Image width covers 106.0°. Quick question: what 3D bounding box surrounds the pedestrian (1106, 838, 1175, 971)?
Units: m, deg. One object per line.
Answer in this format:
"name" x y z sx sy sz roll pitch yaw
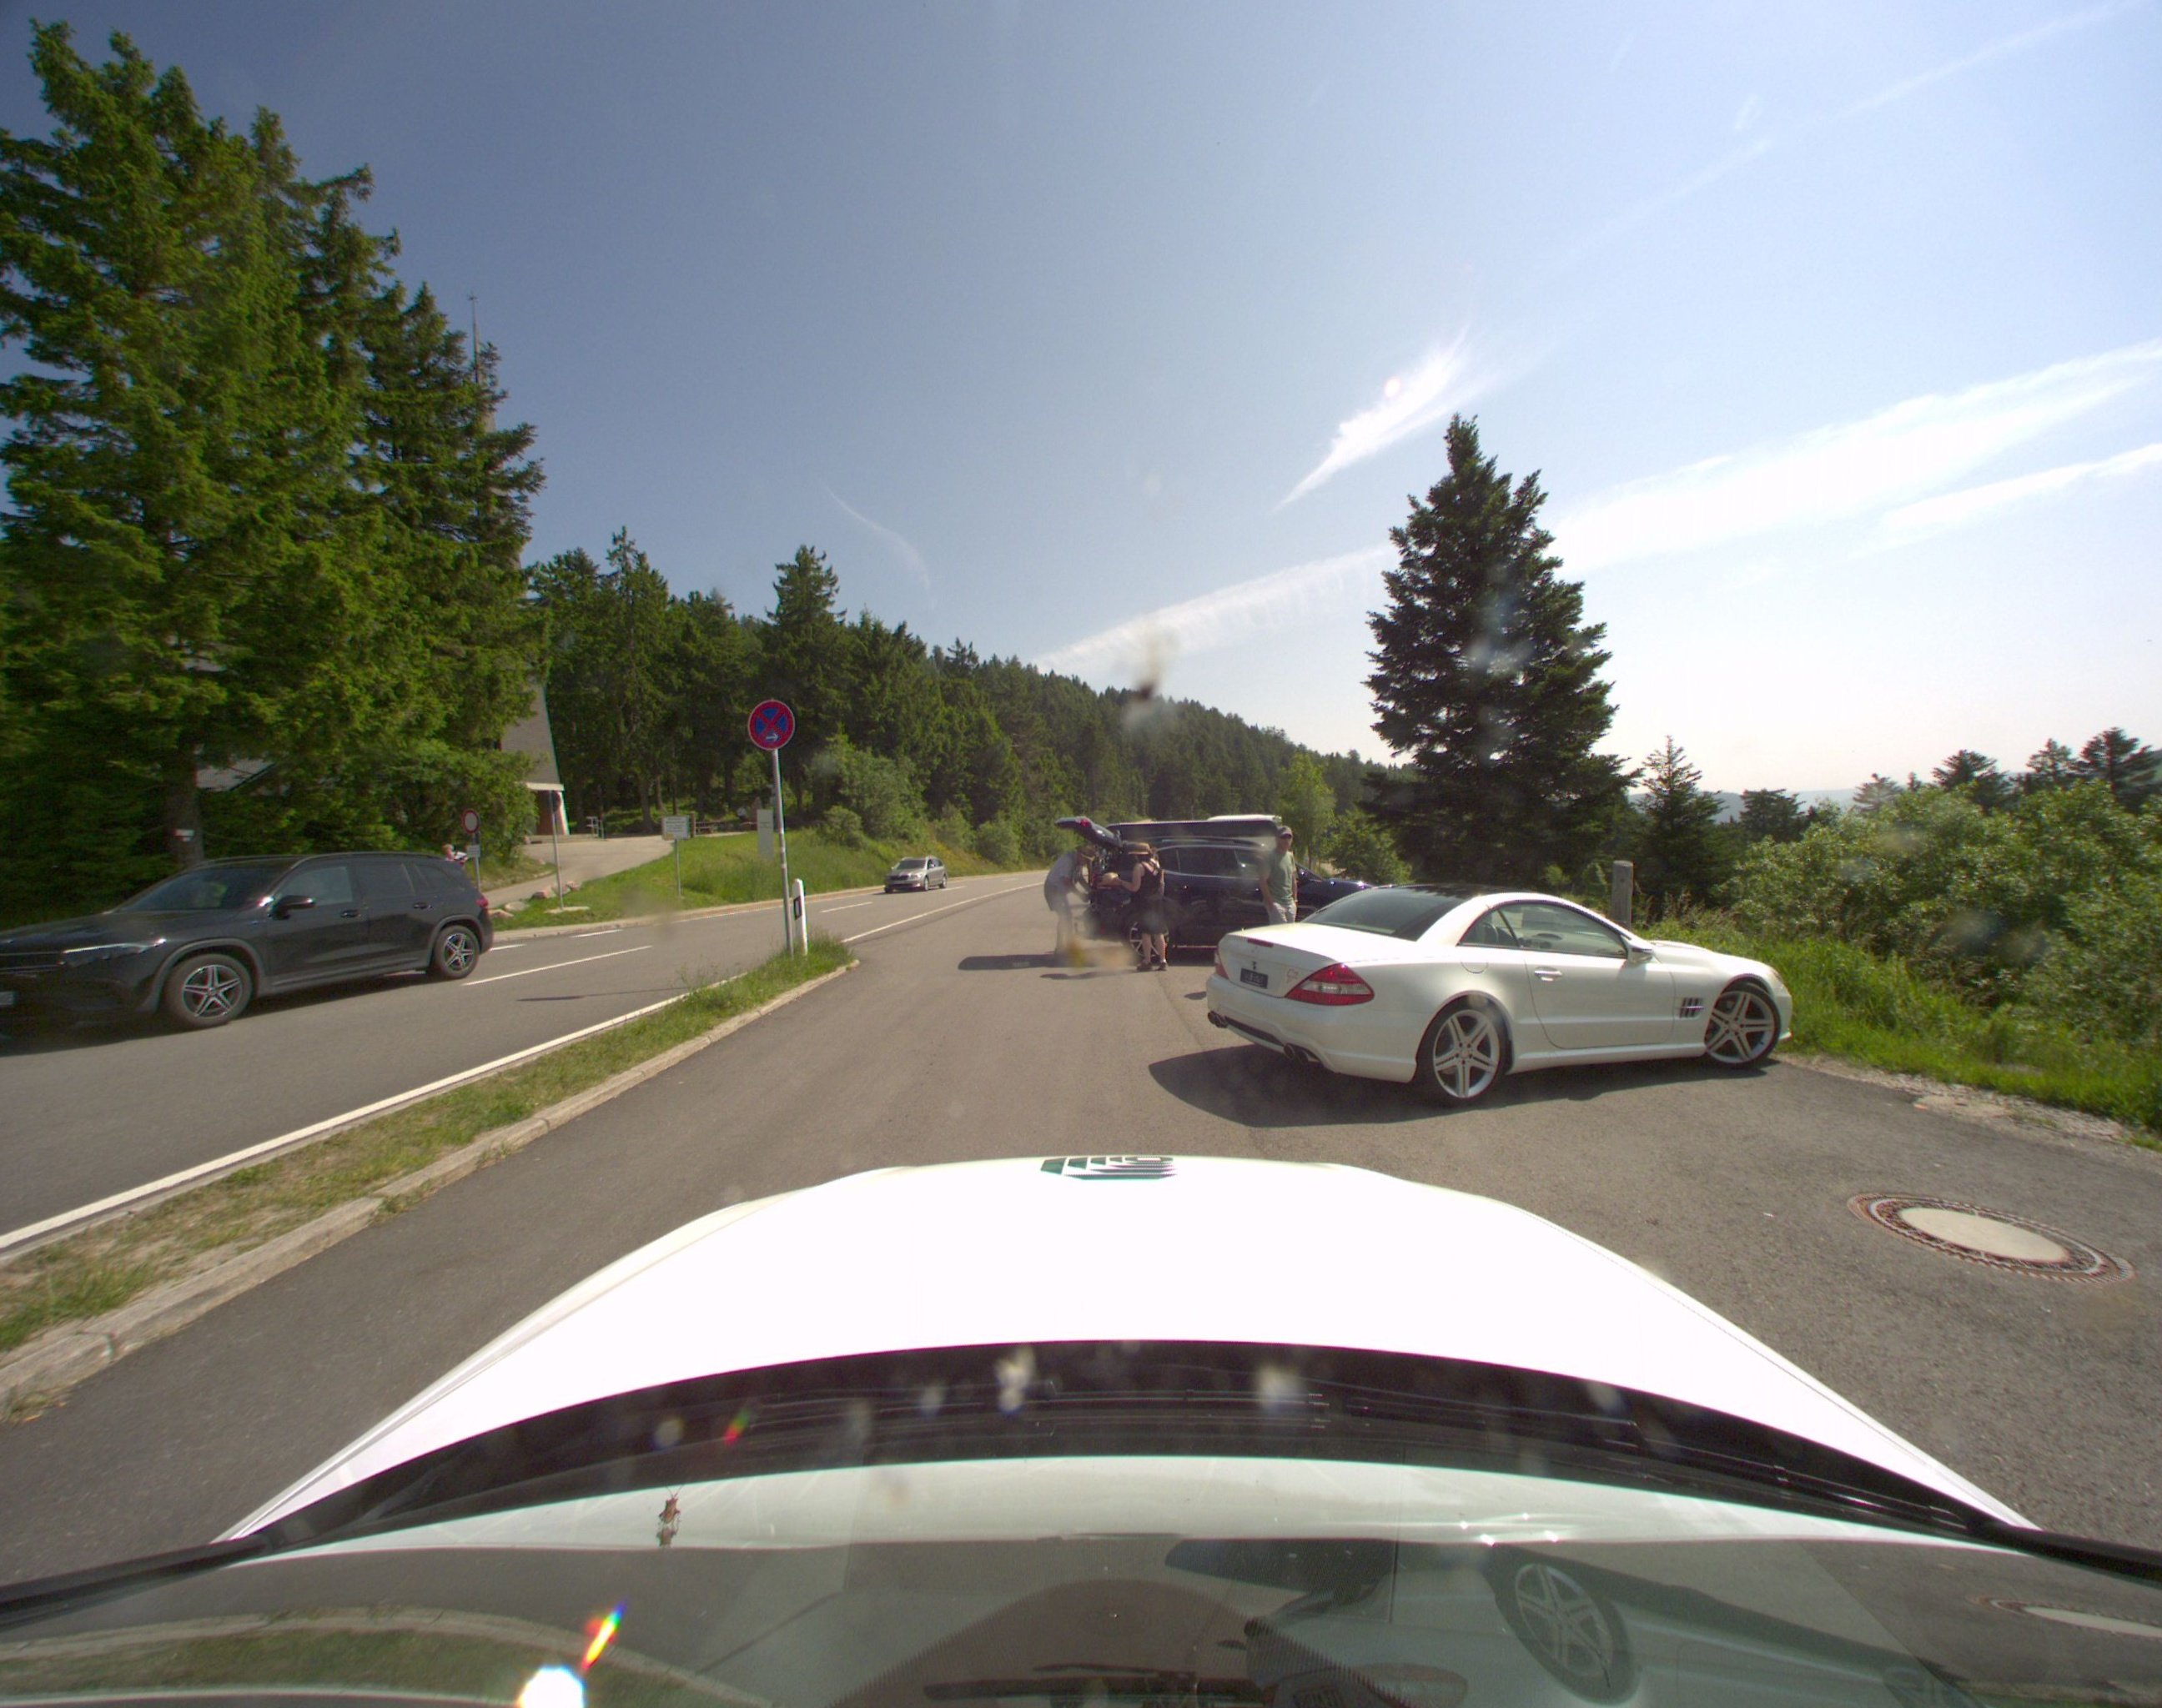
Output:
"pedestrian" 0.738 0.611 10.242 0.715 1.613 0.533 0 -1 -17

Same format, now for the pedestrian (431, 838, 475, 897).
"pedestrian" -18.345 0.386 23.806 0.719 1.681 0.680 -3 0 -10

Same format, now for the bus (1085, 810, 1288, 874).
"bus" 7.003 -0.759 54.233 13.000 3.532 3.055 -3 0 14

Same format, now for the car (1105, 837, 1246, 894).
"car" 2.961 0.356 25.947 4.225 1.553 1.840 -3 0 3

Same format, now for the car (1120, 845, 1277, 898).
"car" 3.284 0.466 23.236 4.225 1.269 1.840 -3 0 3

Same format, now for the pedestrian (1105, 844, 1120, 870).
"pedestrian" 2.035 0.188 52.902 0.765 1.585 0.775 -3 0 10

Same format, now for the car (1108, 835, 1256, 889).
"car" 3.528 0.269 29.038 5.012 1.651 2.050 -3 0 3

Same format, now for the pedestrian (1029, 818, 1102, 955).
"pedestrian" -0.216 0.430 11.666 0.728 1.870 0.763 1 3 34

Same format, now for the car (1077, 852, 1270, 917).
"car" 1.974 0.647 18.134 4.071 1.376 1.701 0 0 -3

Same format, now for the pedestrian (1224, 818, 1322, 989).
"pedestrian" 2.124 0.522 9.050 0.750 1.800 0.729 0 -1 -29

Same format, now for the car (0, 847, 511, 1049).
"car" -9.082 0.799 9.111 1.986 1.647 4.570 -3 0 2

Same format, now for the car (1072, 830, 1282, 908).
"car" 2.372 0.353 20.404 4.924 1.695 1.948 -2 0 5

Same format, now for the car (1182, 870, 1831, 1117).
"car" 3.126 0.802 6.050 4.411 1.296 1.745 1 1 -20

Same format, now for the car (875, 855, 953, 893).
"car" -7.169 0.806 35.463 1.869 1.474 4.724 -1 0 7

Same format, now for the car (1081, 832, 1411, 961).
"car" 2.206 0.577 11.712 4.332 1.626 1.868 1 -1 -2

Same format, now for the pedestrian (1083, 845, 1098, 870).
"pedestrian" 0.630 0.239 53.426 0.765 1.585 0.775 -3 0 10

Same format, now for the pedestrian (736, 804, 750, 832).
"pedestrian" -23.671 -2.507 57.030 0.674 1.878 0.545 -3 0 36
